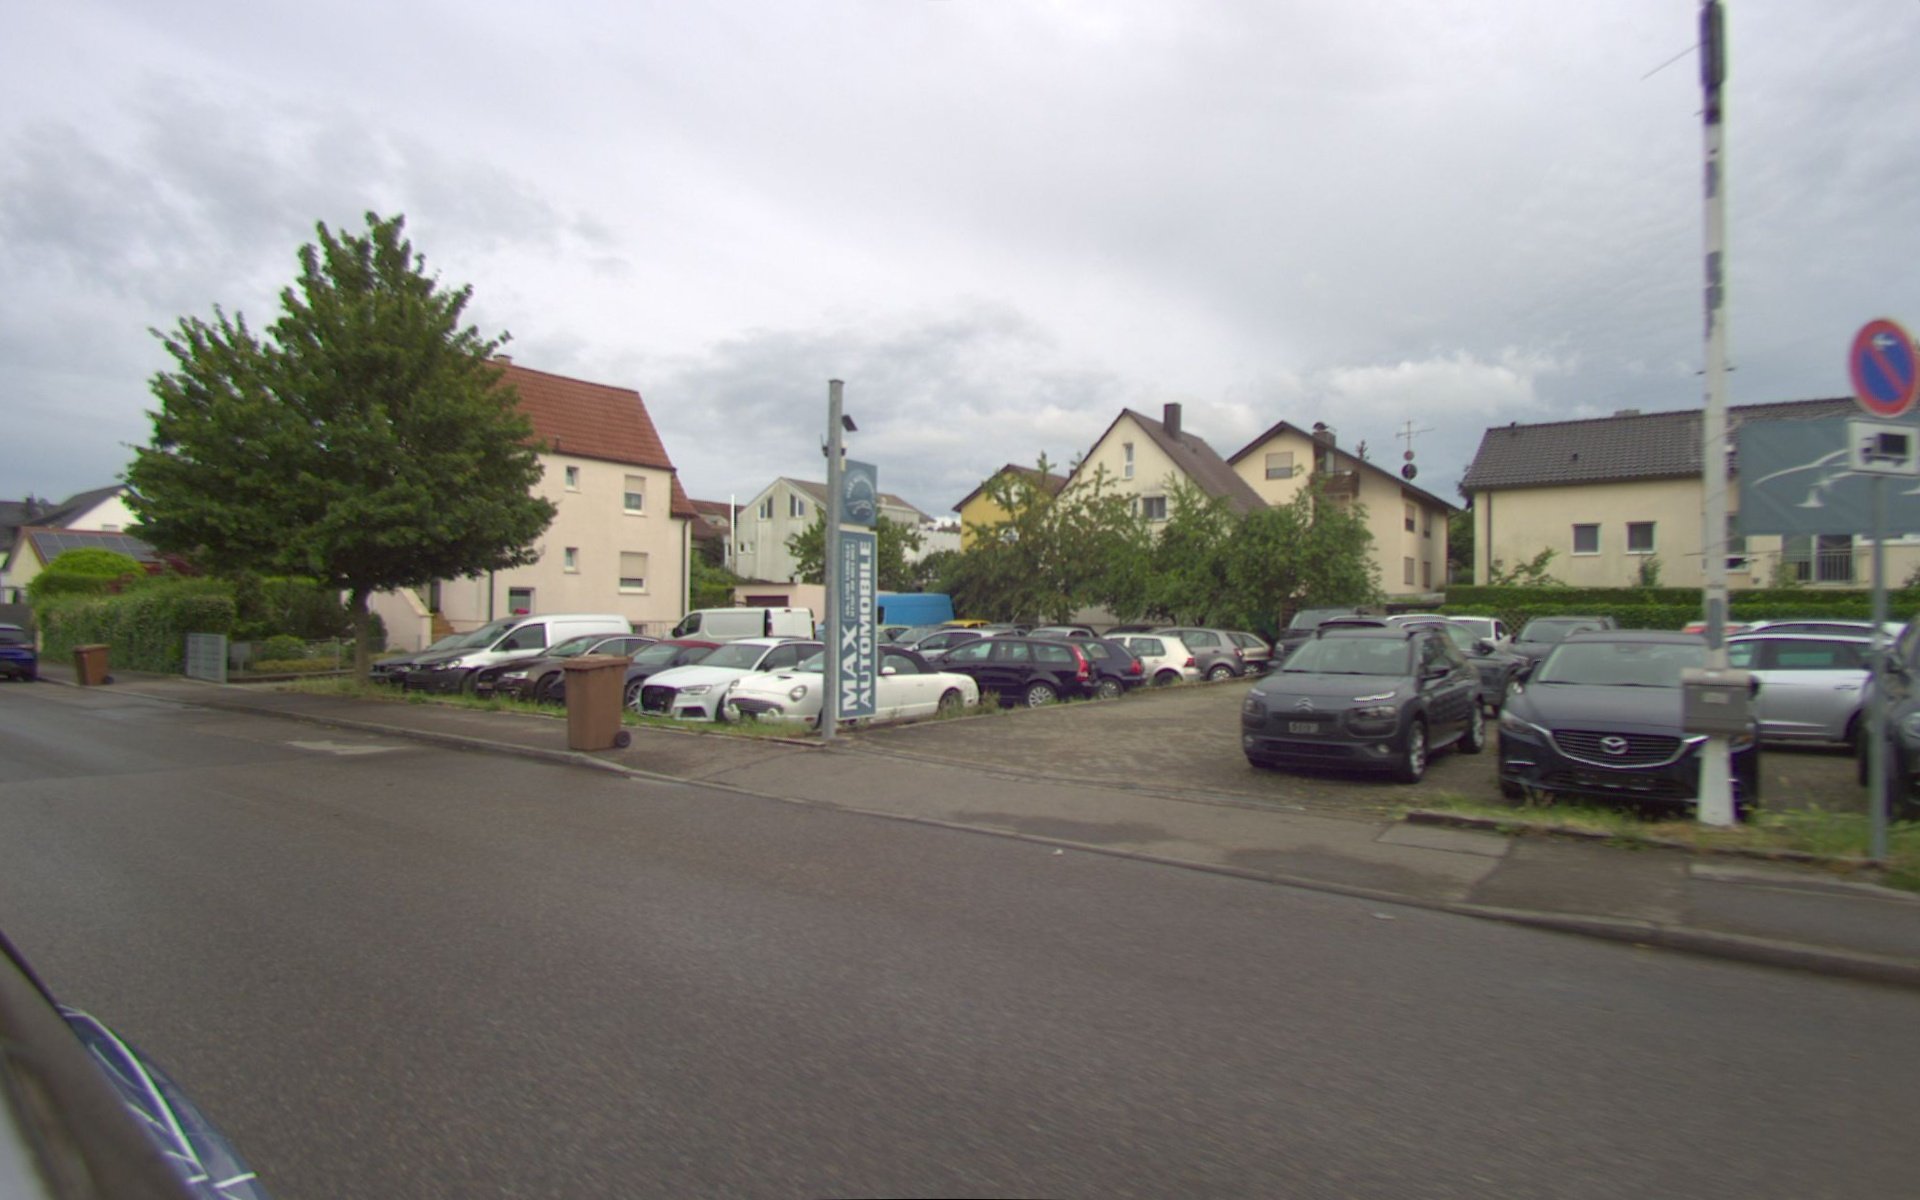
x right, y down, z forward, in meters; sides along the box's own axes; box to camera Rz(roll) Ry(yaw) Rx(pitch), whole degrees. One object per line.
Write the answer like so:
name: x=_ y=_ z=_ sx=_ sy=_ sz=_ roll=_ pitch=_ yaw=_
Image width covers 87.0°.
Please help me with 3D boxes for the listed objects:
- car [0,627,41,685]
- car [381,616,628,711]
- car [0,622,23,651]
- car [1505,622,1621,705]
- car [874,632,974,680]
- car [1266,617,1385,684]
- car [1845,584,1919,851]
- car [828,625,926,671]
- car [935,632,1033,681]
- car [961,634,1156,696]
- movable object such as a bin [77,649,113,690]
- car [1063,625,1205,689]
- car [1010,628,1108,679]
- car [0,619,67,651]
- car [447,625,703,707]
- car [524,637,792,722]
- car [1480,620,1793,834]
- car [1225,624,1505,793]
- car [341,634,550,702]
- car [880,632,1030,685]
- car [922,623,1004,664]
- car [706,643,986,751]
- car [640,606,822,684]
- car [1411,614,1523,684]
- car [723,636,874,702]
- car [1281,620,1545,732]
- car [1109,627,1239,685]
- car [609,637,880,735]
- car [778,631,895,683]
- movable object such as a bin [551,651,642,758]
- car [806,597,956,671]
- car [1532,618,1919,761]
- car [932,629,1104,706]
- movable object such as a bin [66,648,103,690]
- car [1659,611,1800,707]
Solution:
car: x=-25.096 y=1.389 z=25.757 sx=3.938 sy=1.414 sz=1.790 roll=-1 pitch=-3 yaw=37
car: x=-9.561 y=1.275 z=21.624 sx=1.892 sy=1.804 sz=4.521 roll=-1 pitch=-2 yaw=33
car: x=-50.477 y=1.863 z=51.300 sx=1.878 sy=1.525 sz=4.051 roll=-2 pitch=-2 yaw=33
car: x=11.827 y=1.157 z=19.762 sx=1.782 sy=1.449 sz=3.704 roll=-1 pitch=-2 yaw=33
car: x=-1.029 y=1.620 z=30.094 sx=1.335 sy=1.343 sz=3.195 roll=-1 pitch=-2 yaw=35
car: x=9.468 y=1.237 z=26.059 sx=1.896 sy=1.567 sz=3.952 roll=-1 pitch=-2 yaw=35
car: x=8.207 y=0.763 z=7.581 sx=2.055 sy=1.704 sz=4.306 roll=-1 pitch=-2 yaw=38
car: x=-2.521 y=1.451 z=31.290 sx=1.335 sy=1.343 sz=3.195 roll=-1 pitch=-2 yaw=35
car: x=0.732 y=1.596 z=29.351 sx=1.335 sy=1.343 sz=3.195 roll=-1 pitch=-2 yaw=35
car: x=2.155 y=1.410 z=22.371 sx=3.980 sy=1.267 sz=1.606 roll=-2 pitch=-2 yaw=27
movable object such as a bin: x=-20.167 y=1.614 z=23.588 sx=0.424 sy=0.917 sz=0.535 roll=-1 pitch=1 yaw=36
car: x=4.096 y=1.305 z=23.791 sx=3.203 sy=1.426 sz=1.331 roll=0 pitch=-2 yaw=15
car: x=2.790 y=1.436 z=27.967 sx=1.335 sy=1.343 sz=3.195 roll=-1 pitch=-2 yaw=35
car: x=-43.356 y=1.592 z=45.839 sx=1.709 sy=1.424 sz=4.050 roll=-2 pitch=-1 yaw=34
car: x=-7.465 y=1.221 z=20.079 sx=1.892 sy=1.429 sz=4.521 roll=-1 pitch=-2 yaw=33
car: x=-5.379 y=1.360 z=18.582 sx=1.886 sy=1.319 sz=4.515 roll=-1 pitch=-2 yaw=37
car: x=6.303 y=0.927 z=9.328 sx=1.938 sy=1.475 sz=4.306 roll=-1 pitch=-2 yaw=38
car: x=4.566 y=1.007 z=11.067 sx=1.837 sy=1.475 sz=3.949 roll=-1 pitch=-2 yaw=38
car: x=-11.534 y=1.465 z=22.914 sx=1.756 sy=1.383 sz=3.880 roll=-1 pitch=-2 yaw=33
car: x=-0.148 y=1.452 z=25.999 sx=3.520 sy=1.245 sz=1.647 roll=-1 pitch=-2 yaw=31
car: x=0.145 y=1.496 z=35.511 sx=1.335 sy=1.343 sz=3.195 roll=-1 pitch=-2 yaw=35
car: x=-1.585 y=1.373 z=15.564 sx=1.768 sy=1.342 sz=4.410 roll=-1 pitch=-2 yaw=37
car: x=-6.309 y=1.205 z=27.650 sx=5.042 sy=1.945 sz=1.976 roll=-1 pitch=-3 yaw=35
car: x=12.602 y=1.161 z=25.069 sx=1.785 sy=1.583 sz=3.699 roll=-1 pitch=-2 yaw=38
car: x=-3.713 y=1.558 z=23.388 sx=3.202 sy=1.426 sz=1.332 roll=0 pitch=-2 yaw=14
car: x=7.036 y=1.068 z=15.641 sx=3.933 sy=1.511 sz=1.942 roll=1 pitch=-2 yaw=-34
car: x=5.504 y=1.400 z=26.057 sx=3.202 sy=1.426 sz=1.332 roll=0 pitch=-2 yaw=14
car: x=-3.492 y=1.346 z=17.151 sx=1.886 sy=1.384 sz=4.336 roll=-1 pitch=-2 yaw=37
car: x=-3.456 y=1.548 z=28.156 sx=3.109 sy=1.343 sz=1.373 roll=-1 pitch=-2 yaw=35
movable object such as a bin: x=-4.152 y=1.164 z=11.568 sx=0.734 sy=1.138 sz=0.701 roll=-1 pitch=-1 yaw=37
car: x=-2.645 y=1.129 z=35.300 sx=2.043 sy=2.392 sz=5.618 roll=-1 pitch=-1 yaw=37
car: x=9.530 y=1.020 z=12.609 sx=3.994 sy=1.542 sz=1.675 roll=-1 pitch=-3 yaw=38
car: x=1.167 y=1.284 z=19.912 sx=3.202 sy=1.426 sz=1.332 roll=0 pitch=-2 yaw=14
movable object such as a bin: x=-20.586 y=1.617 z=23.800 sx=0.505 sy=0.917 sz=0.535 roll=-1 pitch=1 yaw=36
car: x=13.834 y=1.008 z=18.391 sx=1.833 sy=1.542 sz=3.953 roll=-1 pitch=-2 yaw=35
